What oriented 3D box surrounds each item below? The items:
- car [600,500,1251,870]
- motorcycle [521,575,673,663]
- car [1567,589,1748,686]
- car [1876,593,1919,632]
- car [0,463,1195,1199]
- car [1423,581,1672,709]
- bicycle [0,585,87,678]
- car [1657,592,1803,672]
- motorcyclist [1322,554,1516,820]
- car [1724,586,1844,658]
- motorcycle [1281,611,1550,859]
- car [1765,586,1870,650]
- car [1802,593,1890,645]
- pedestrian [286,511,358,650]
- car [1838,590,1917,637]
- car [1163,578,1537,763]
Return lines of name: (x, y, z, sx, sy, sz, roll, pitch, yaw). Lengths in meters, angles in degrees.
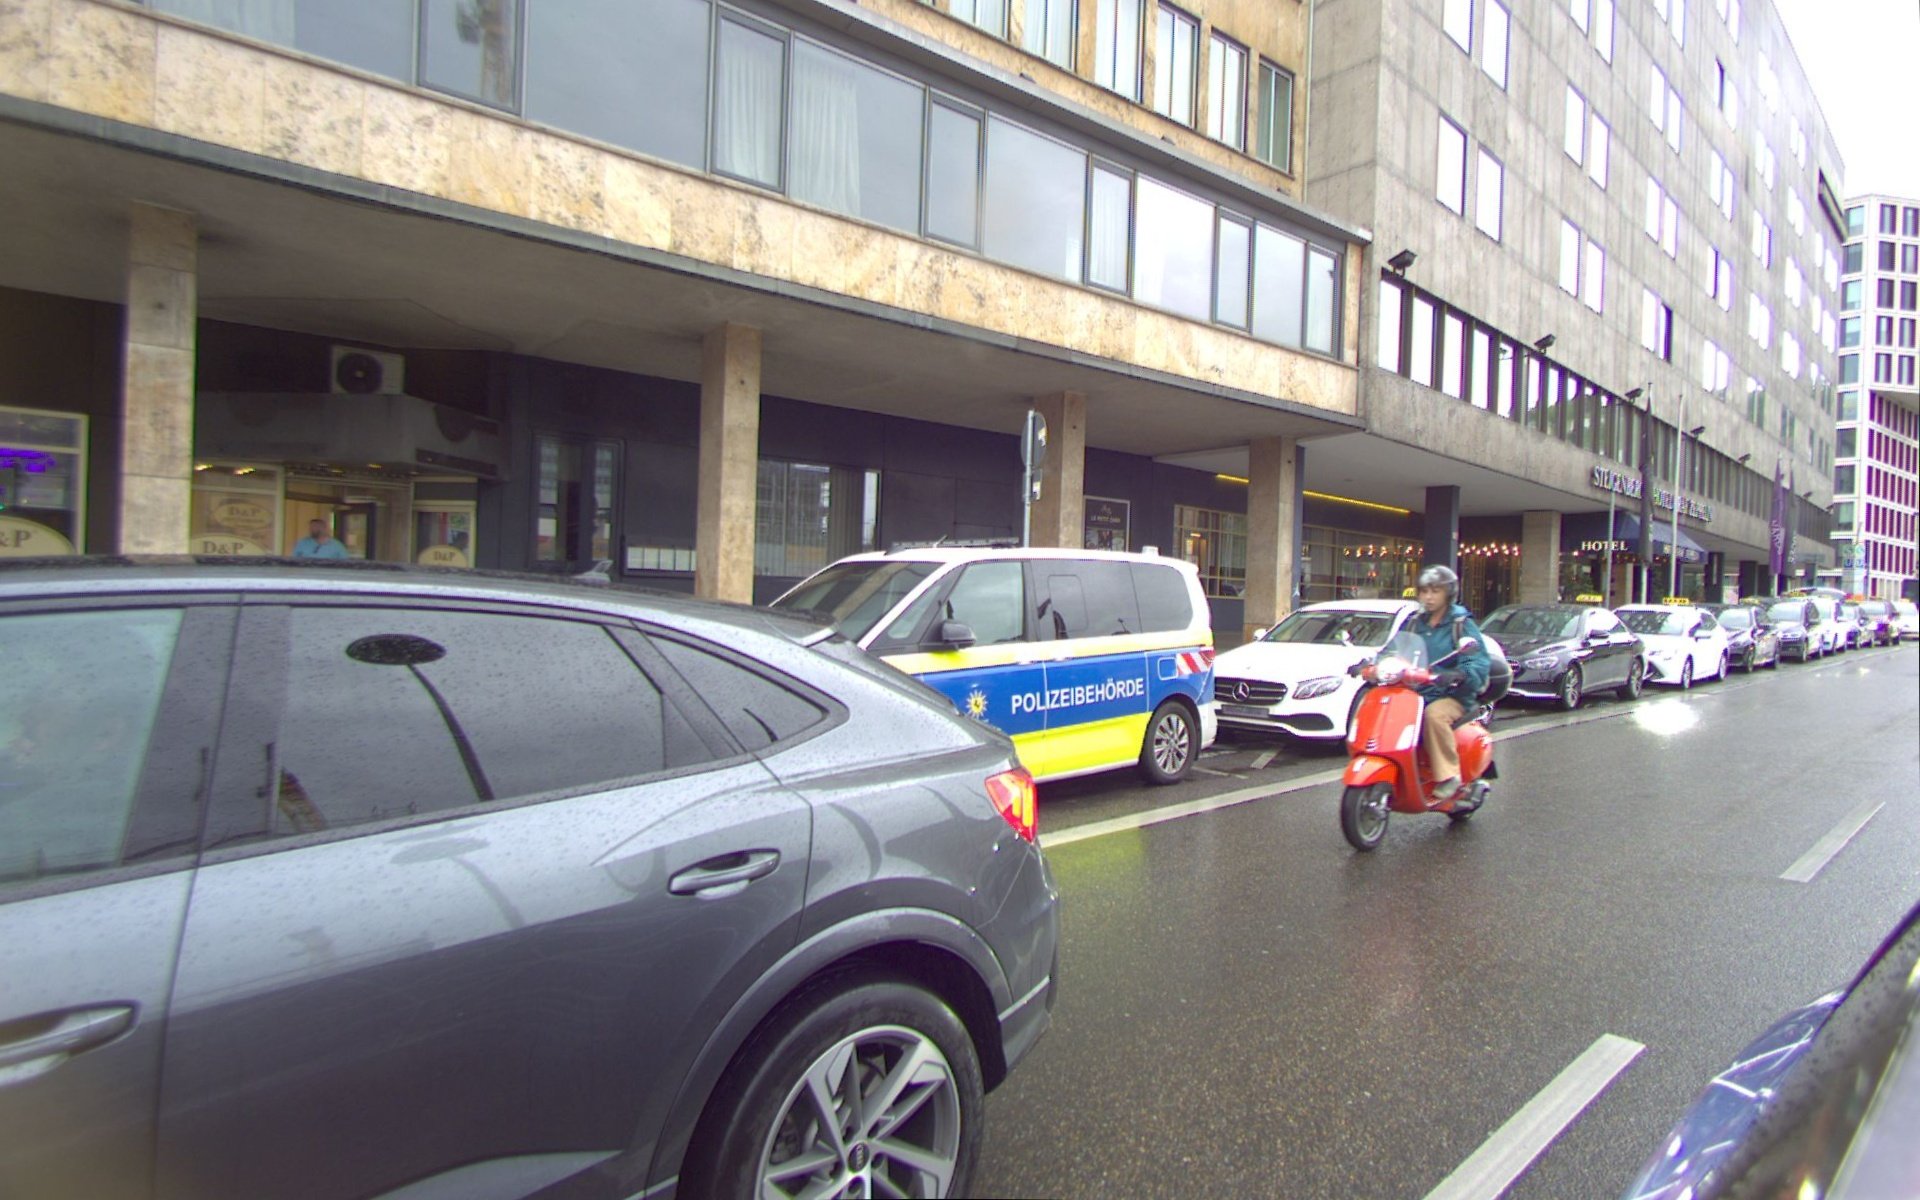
car: (0.025, 0.426, 7.652, 4.850, 1.944, 1.877, -1, 0, -41)
motorcycle: (-5.377, 0.259, 15.048, 2.063, 1.233, 0.569, 0, 0, -33)
car: (13.250, 0.605, 19.112, 4.731, 1.612, 1.729, -1, 0, -41)
car: (41.318, 0.502, 44.026, 3.932, 1.634, 1.729, -1, 0, -41)
car: (-1.609, 0.599, 1.975, 4.266, 1.520, 1.882, -1, 0, -40)
car: (9.035, 0.560, 15.384, 4.731, 1.658, 1.877, -1, 0, -41)
bicycle: (-11.534, 0.358, 11.500, 2.428, 1.059, 0.657, 0, 0, -41)
car: (17.507, 0.639, 22.924, 4.731, 1.612, 1.729, -1, 0, -41)
motorcyclist: (2.931, 0.500, 6.474, 0.829, 1.547, 0.860, 0, 0, -40)
car: (22.027, 0.515, 26.971, 4.731, 1.764, 1.729, -1, 0, -41)
motorcycle: (2.972, 0.753, 6.520, 1.931, 1.323, 0.848, 0, 0, -41)
car: (25.810, 0.476, 30.404, 4.731, 1.764, 1.729, -1, 0, -41)
car: (29.818, 0.587, 34.041, 3.932, 1.634, 1.729, -1, 0, -41)
pedestrian: (-8.778, -0.261, 13.962, 0.785, 1.813, 1.137, 0, 0, -30)
car: (33.781, 0.446, 37.240, 3.932, 1.634, 1.729, -1, 0, -41)
car: (4.566, 0.606, 11.411, 4.924, 1.658, 1.877, -1, 0, -41)
